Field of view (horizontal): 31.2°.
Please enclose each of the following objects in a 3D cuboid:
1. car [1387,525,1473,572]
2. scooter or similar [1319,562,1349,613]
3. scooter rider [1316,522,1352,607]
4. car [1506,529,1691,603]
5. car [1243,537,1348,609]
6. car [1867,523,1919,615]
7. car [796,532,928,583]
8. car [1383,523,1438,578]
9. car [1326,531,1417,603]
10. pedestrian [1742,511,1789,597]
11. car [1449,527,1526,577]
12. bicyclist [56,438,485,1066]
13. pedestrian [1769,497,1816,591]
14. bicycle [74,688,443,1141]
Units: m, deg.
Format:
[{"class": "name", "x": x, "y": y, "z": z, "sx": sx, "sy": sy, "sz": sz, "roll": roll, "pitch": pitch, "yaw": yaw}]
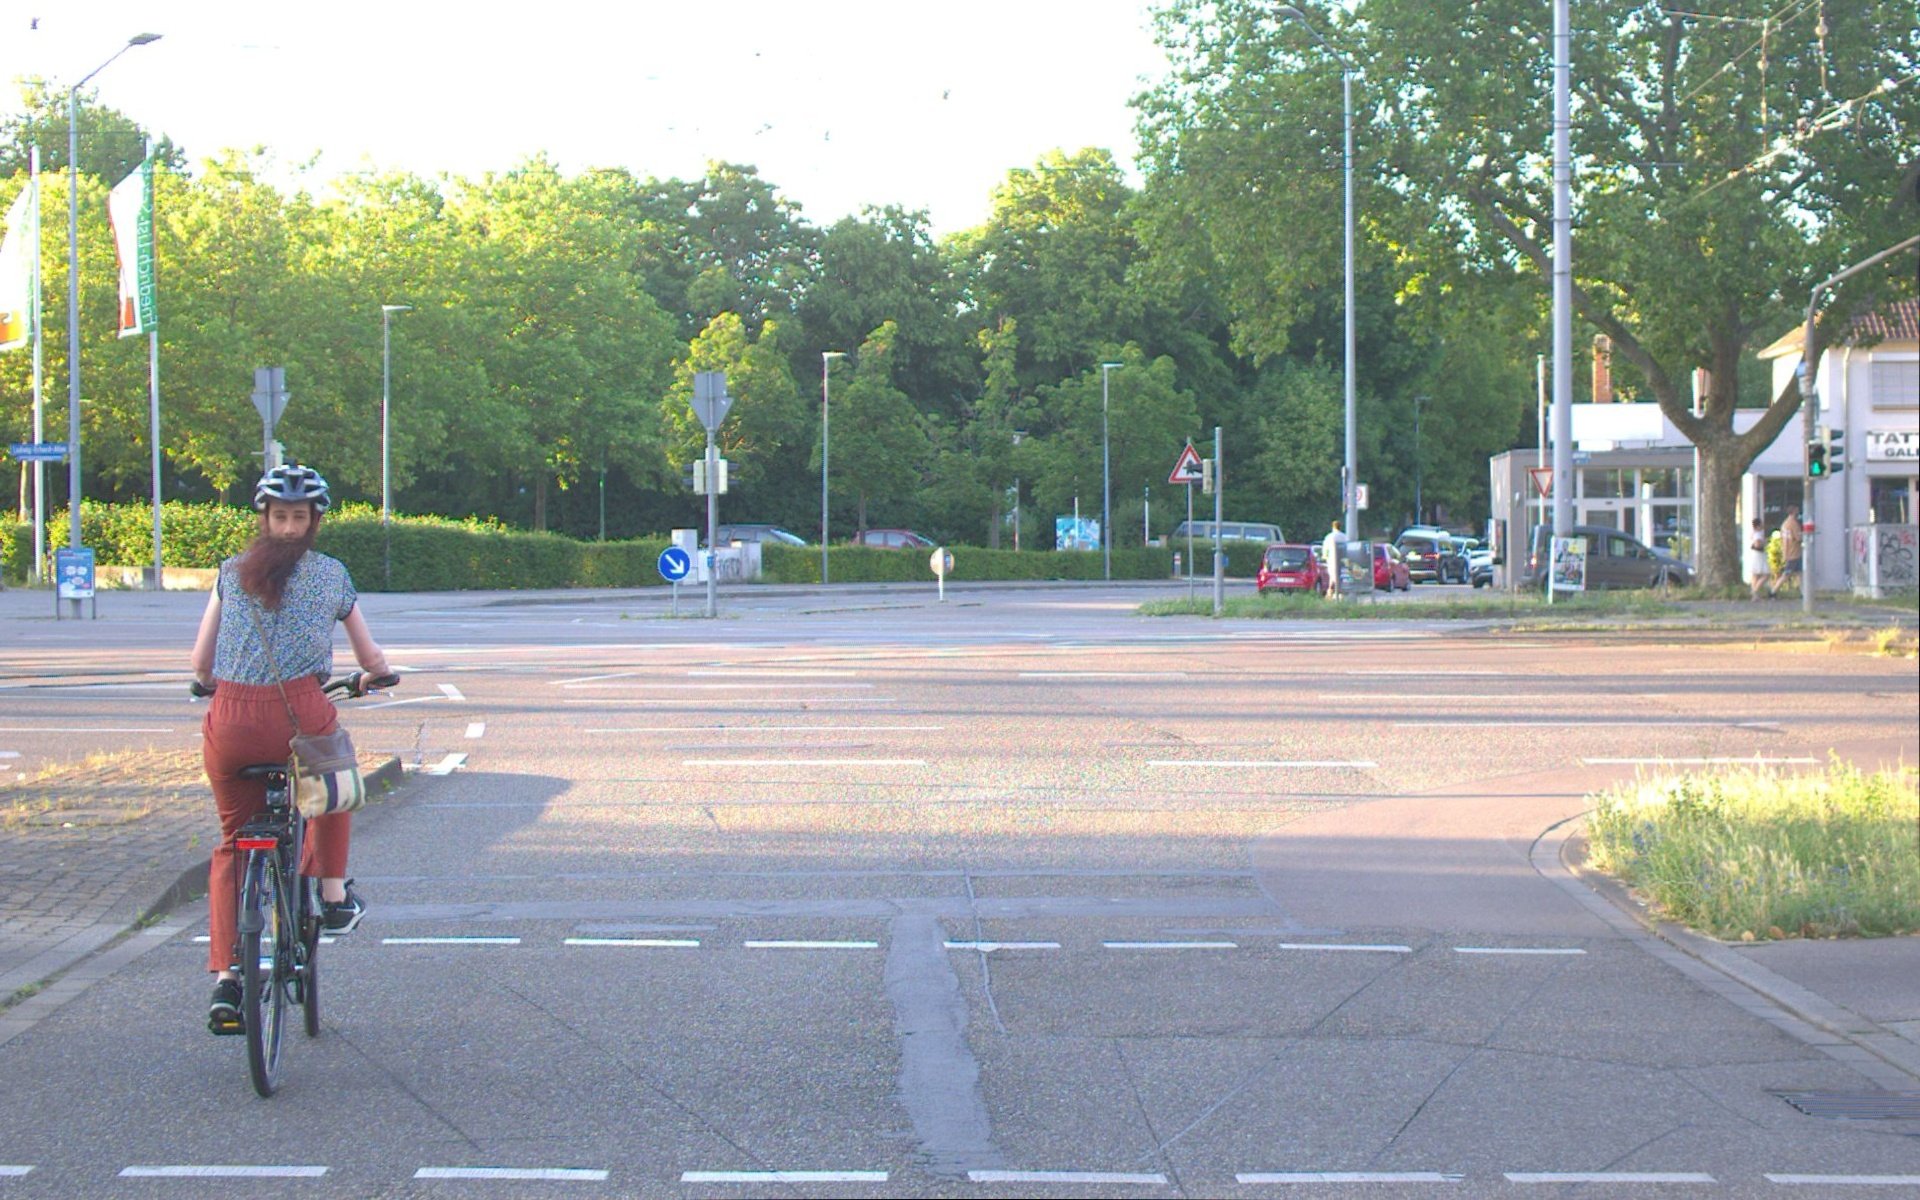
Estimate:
[{"class": "car", "x": 16.198, "y": -1.771, "z": 118.246, "sx": 1.757, "sy": 1.535, "sz": 4.395, "roll": 0, "pitch": 0, "yaw": 24}, {"class": "scooter or similar", "x": 8.194, "y": -0.275, "z": 75.388, "sx": 0.510, "sy": 1.086, "sz": 1.243, "roll": 0, "pitch": 1, "yaw": 0}, {"class": "scooter rider", "x": 8.205, "y": -0.778, "z": 75.409, "sx": 0.702, "sy": 1.848, "sz": 0.669, "roll": 0, "pitch": 0, "yaw": 0}, {"class": "car", "x": 15.957, "y": -0.851, "z": 86.056, "sx": 4.378, "sy": 1.828, "sz": 1.948, "roll": 0, "pitch": 1, "yaw": 5}, {"class": "car", "x": 9.070, "y": -0.750, "z": 92.796, "sx": 1.870, "sy": 1.868, "sz": 3.870, "roll": 1, "pitch": 1, "yaw": 21}, {"class": "car", "x": 20.704, "y": -0.632, "z": 69.546, "sx": 4.230, "sy": 1.840, "sz": 2.000, "roll": 0, "pitch": 1, "yaw": 3}, {"class": "car", "x": -3.032, "y": -1.327, "z": 106.698, "sx": 3.987, "sy": 1.555, "sz": 2.000, "roll": 0, "pitch": 1, "yaw": 2}, {"class": "car", "x": 16.782, "y": -1.847, "z": 128.264, "sx": 1.994, "sy": 2.007, "sz": 3.999, "roll": 0, "pitch": 1, "yaw": 7}, {"class": "car", "x": 12.042, "y": -0.993, "z": 100.424, "sx": 1.916, "sy": 2.040, "sz": 3.997, "roll": 0, "pitch": 1, "yaw": 18}, {"class": "pedestrian", "x": 15.477, "y": -0.893, "z": 66.058, "sx": 0.719, "sy": 1.633, "sz": 0.896, "roll": 0, "pitch": 1, "yaw": 24}, {"class": "car", "x": 17.282, "y": -1.581, "z": 112.483, "sx": 1.916, "sy": 1.597, "sz": 3.997, "roll": 0, "pitch": 1, "yaw": 18}, {"class": "bicyclist", "x": -1.947, "y": 0.405, "z": 9.861, "sx": 1.031, "sy": 1.712, "sz": 0.996, "roll": 0, "pitch": 1, "yaw": 0}, {"class": "pedestrian", "x": 15.726, "y": -1.057, "z": 64.943, "sx": 0.719, "sy": 1.748, "sz": 0.896, "roll": 0, "pitch": 1, "yaw": 24}, {"class": "bicycle", "x": -1.949, "y": 0.831, "z": 9.839, "sx": 0.634, "sy": 1.064, "sz": 2.122, "roll": 0, "pitch": 1, "yaw": 0}]
